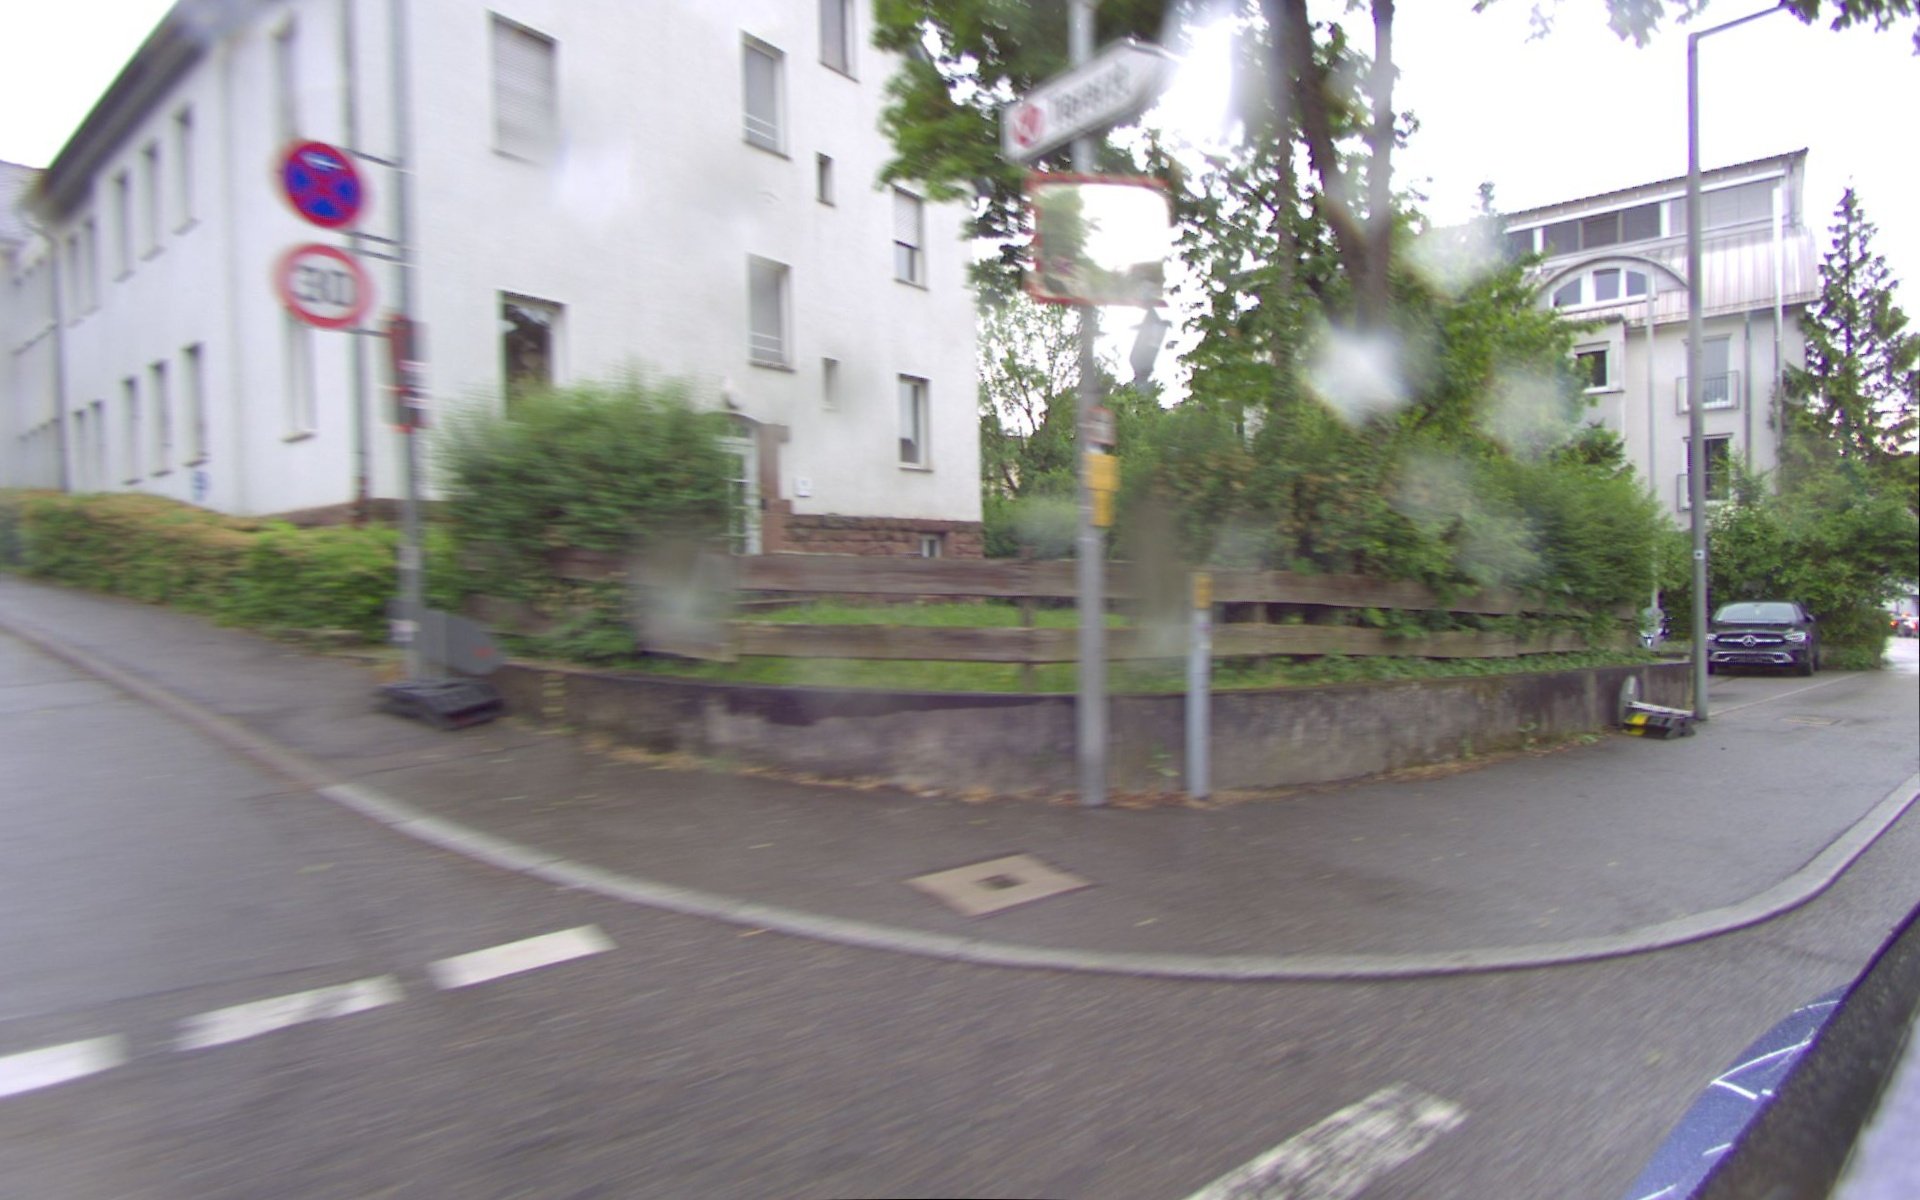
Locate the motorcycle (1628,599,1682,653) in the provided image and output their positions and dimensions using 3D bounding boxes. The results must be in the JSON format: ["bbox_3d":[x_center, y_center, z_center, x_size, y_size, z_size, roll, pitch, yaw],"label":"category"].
[{"bbox_3d":[16.480,0.590,23.970,0.850,1.192,2.457,0,0,40],"label":"motorcycle"}]

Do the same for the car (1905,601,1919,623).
[{"bbox_3d":[66.974,0.800,69.933,1.936,1.459,4.948,-1,-1,37],"label":"car"}]

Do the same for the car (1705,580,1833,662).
[{"bbox_3d":[17.570,0.429,21.899,1.779,1.590,4.654,-3,-2,43],"label":"car"}]
